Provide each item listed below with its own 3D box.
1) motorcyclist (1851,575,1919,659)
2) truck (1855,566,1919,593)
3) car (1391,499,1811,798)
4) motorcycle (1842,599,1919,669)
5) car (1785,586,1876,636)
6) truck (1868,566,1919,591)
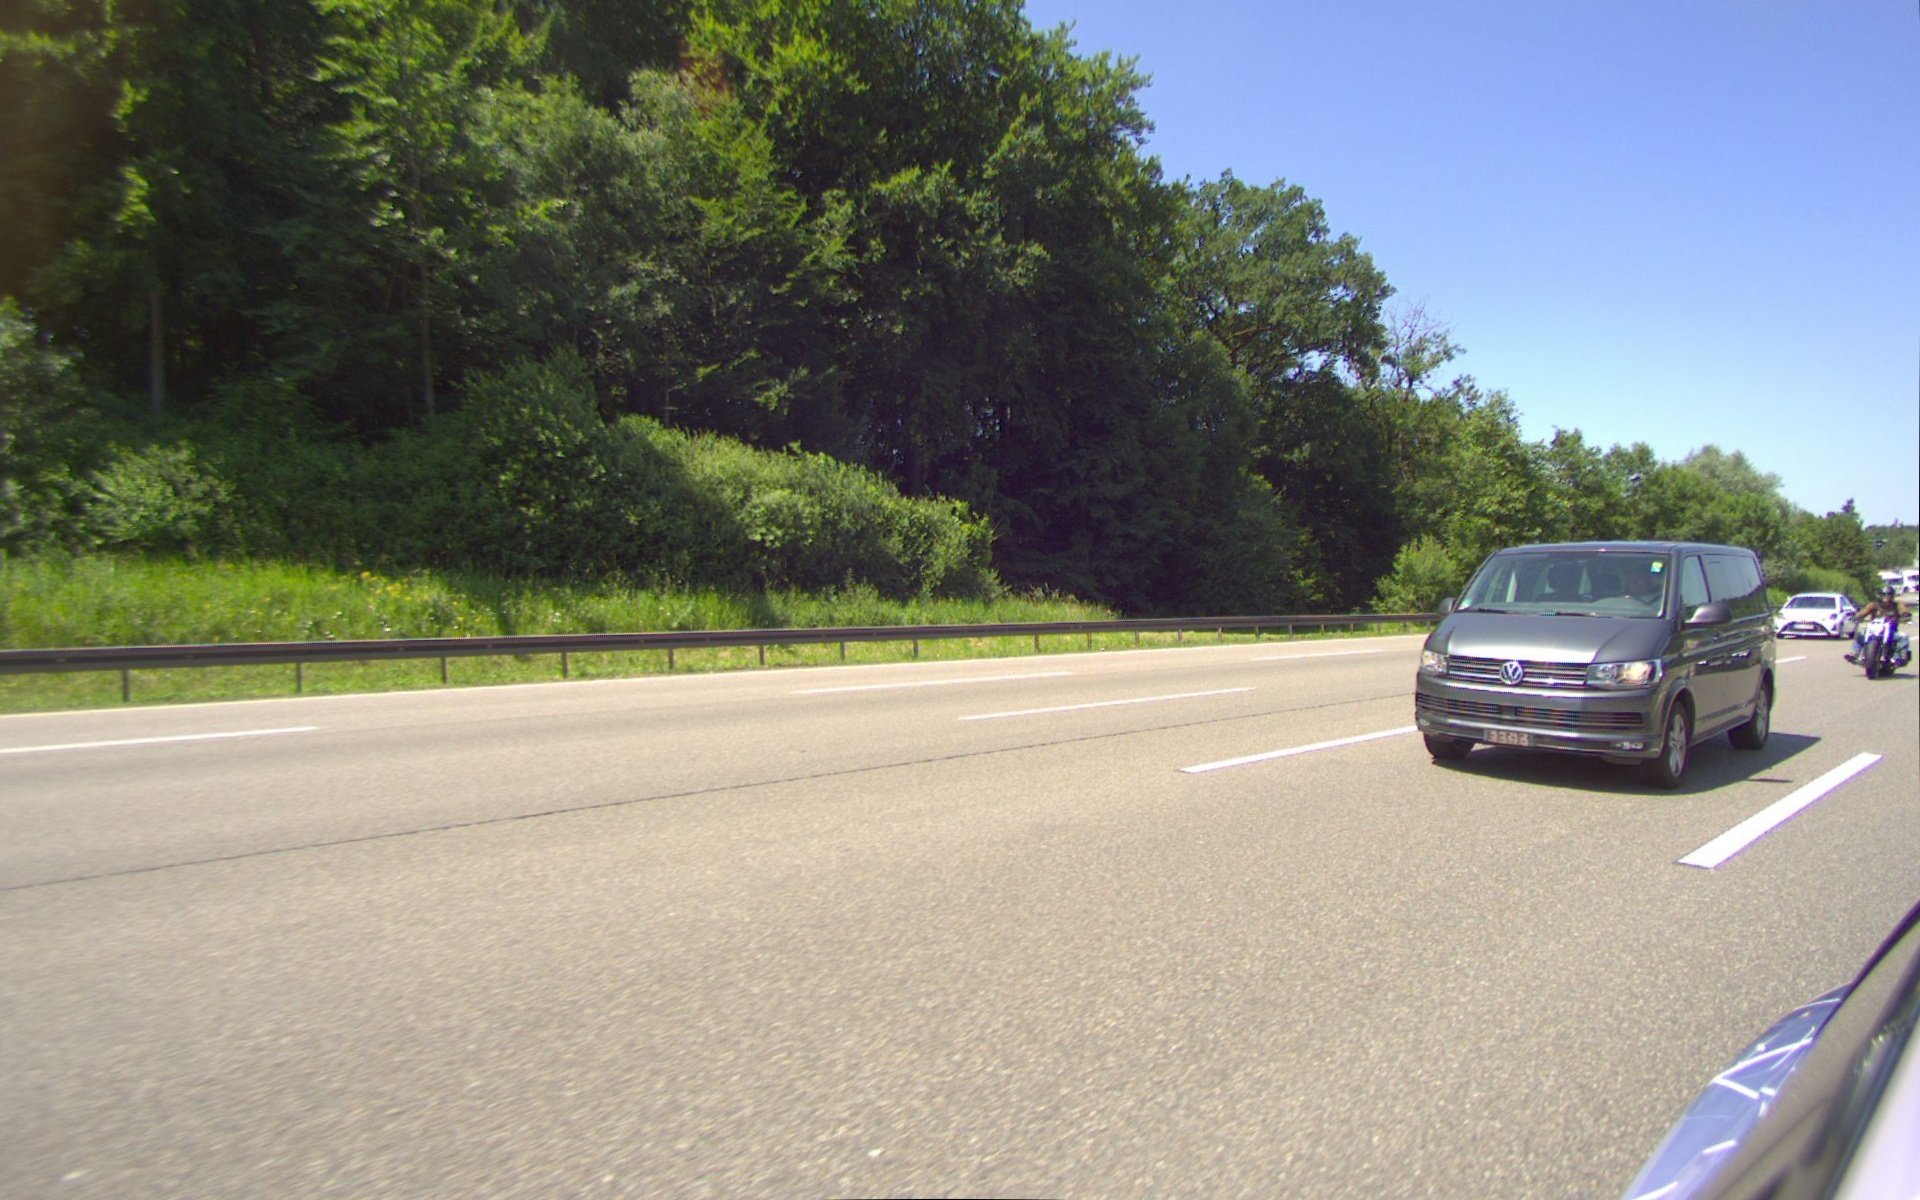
[{"bbox_3d":[16.753,0.286,18.123,1.002,1.445,0.857,-1,1,-25],"label":"motorcyclist"},{"bbox_3d":[165.022,-3.612,179.841,2.785,4.515,12.032,-2,1,9],"label":"truck"},{"bbox_3d":[6.125,0.308,9.377,4.995,2.059,1.966,0,1,-41],"label":"car"},{"bbox_3d":[16.817,0.586,18.181,2.386,1.149,0.538,-1,1,-25],"label":"motorcycle"},{"bbox_3d":[28.875,0.317,33.540,4.407,1.538,1.752,0,1,-42],"label":"car"},{"bbox_3d":[171.023,-3.848,183.107,2.786,4.516,14.597,0,1,11],"label":"truck"}]
